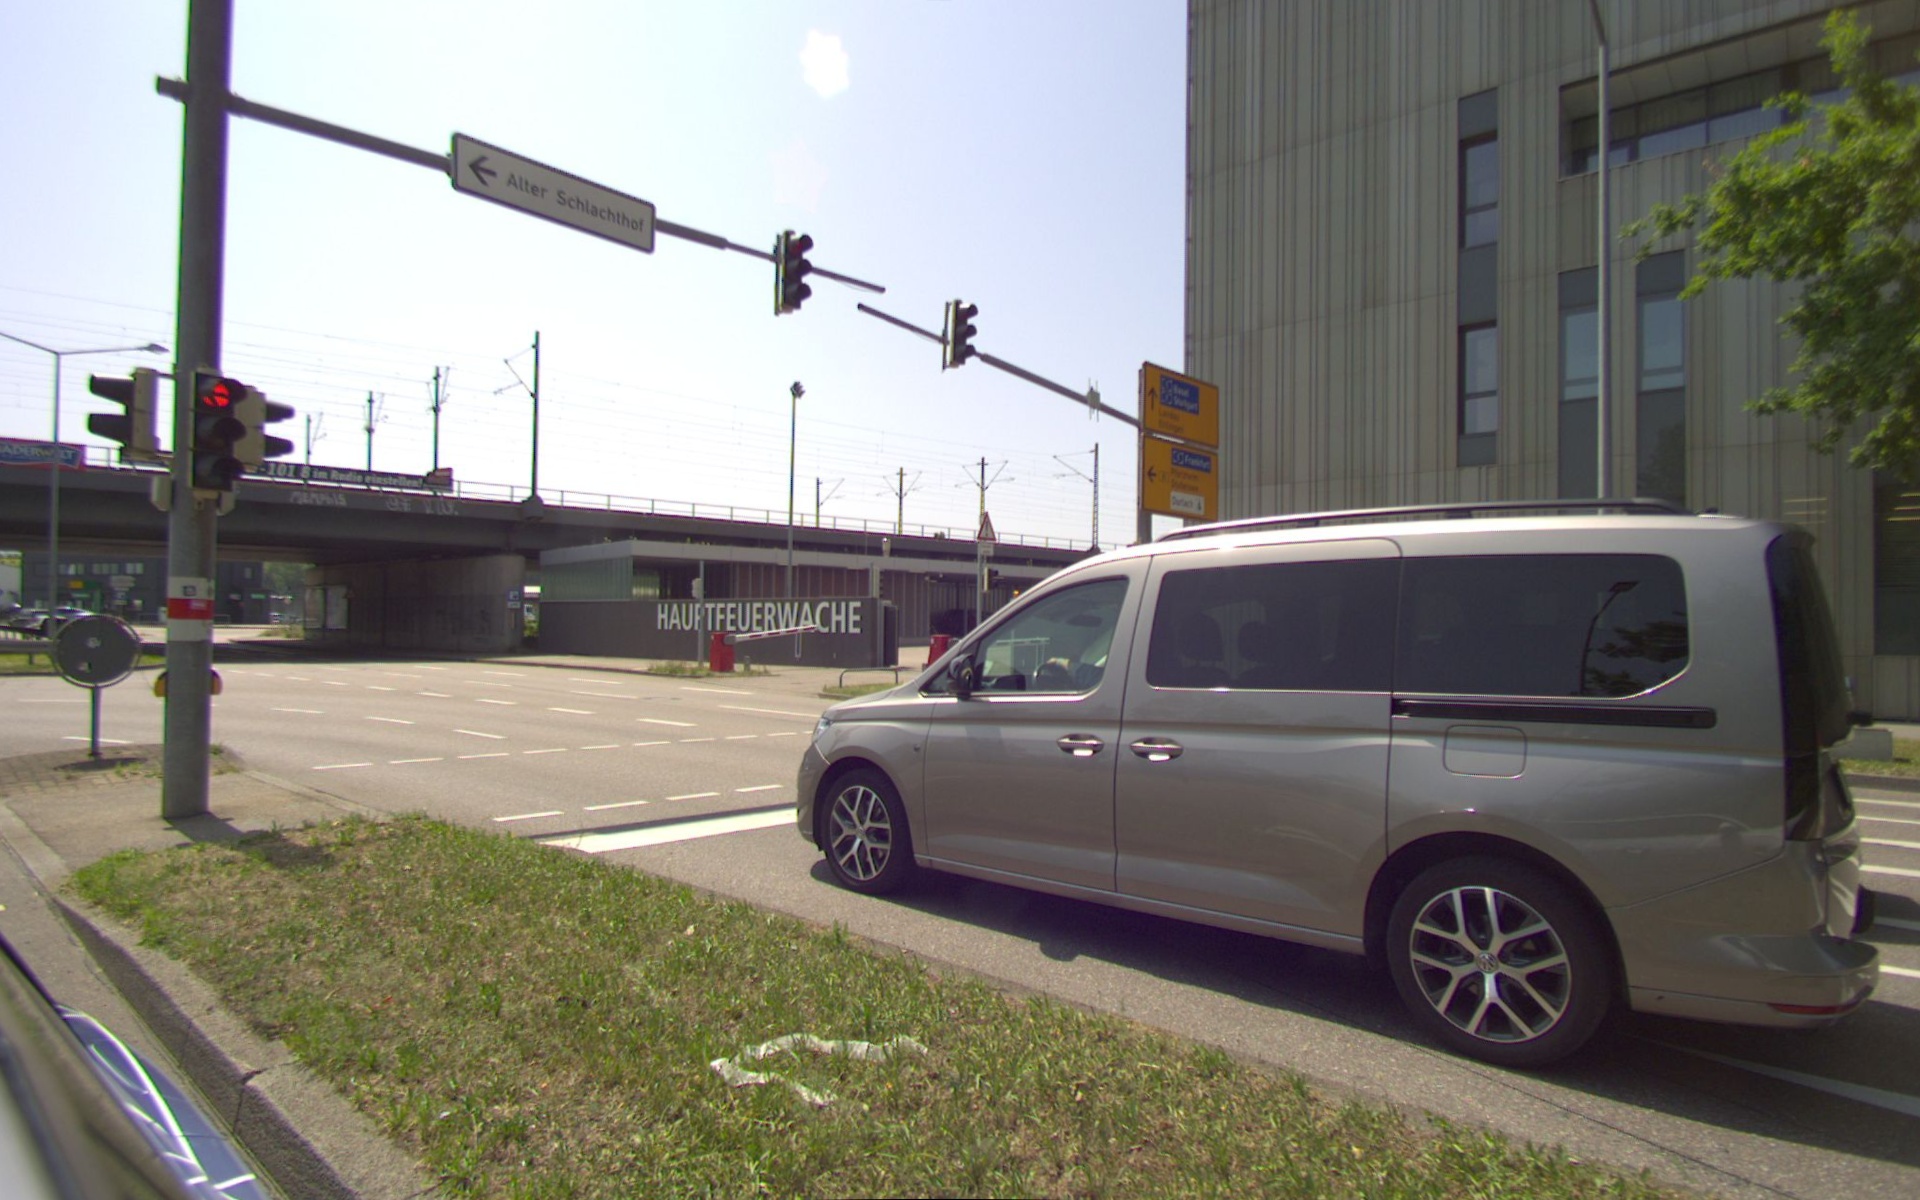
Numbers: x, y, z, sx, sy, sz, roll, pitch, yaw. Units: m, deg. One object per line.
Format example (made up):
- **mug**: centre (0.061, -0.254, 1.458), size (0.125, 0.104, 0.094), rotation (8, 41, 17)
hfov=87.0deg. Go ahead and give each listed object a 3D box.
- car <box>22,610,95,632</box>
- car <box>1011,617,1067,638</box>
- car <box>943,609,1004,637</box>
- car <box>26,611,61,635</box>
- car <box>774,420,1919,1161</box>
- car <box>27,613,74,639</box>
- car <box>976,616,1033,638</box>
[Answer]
- **car**: centre (-70.714, 1.667, 79.436), size (3.932, 1.697, 2.006), rotation (1, -2, -32)
- **car**: centre (5.153, 1.769, 65.906), size (1.609, 1.337, 3.472), rotation (1, -2, -43)
- **car**: centre (0.795, 1.395, 62.256), size (1.609, 1.684, 3.791), rotation (1, -2, -43)
- **car**: centre (-62.937, 1.567, 69.526), size (1.685, 1.556, 3.378), rotation (1, -1, -41)
- **car**: centre (1.343, 0.540, 4.616), size (4.712, 1.815, 1.791), rotation (-2, -4, 42)
- **car**: centre (-53.024, 1.496, 59.012), size (3.372, 1.461, 1.688), rotation (-1, -2, 42)
- **car**: centre (2.786, 1.683, 63.843), size (1.609, 1.337, 3.472), rotation (1, -2, -43)
